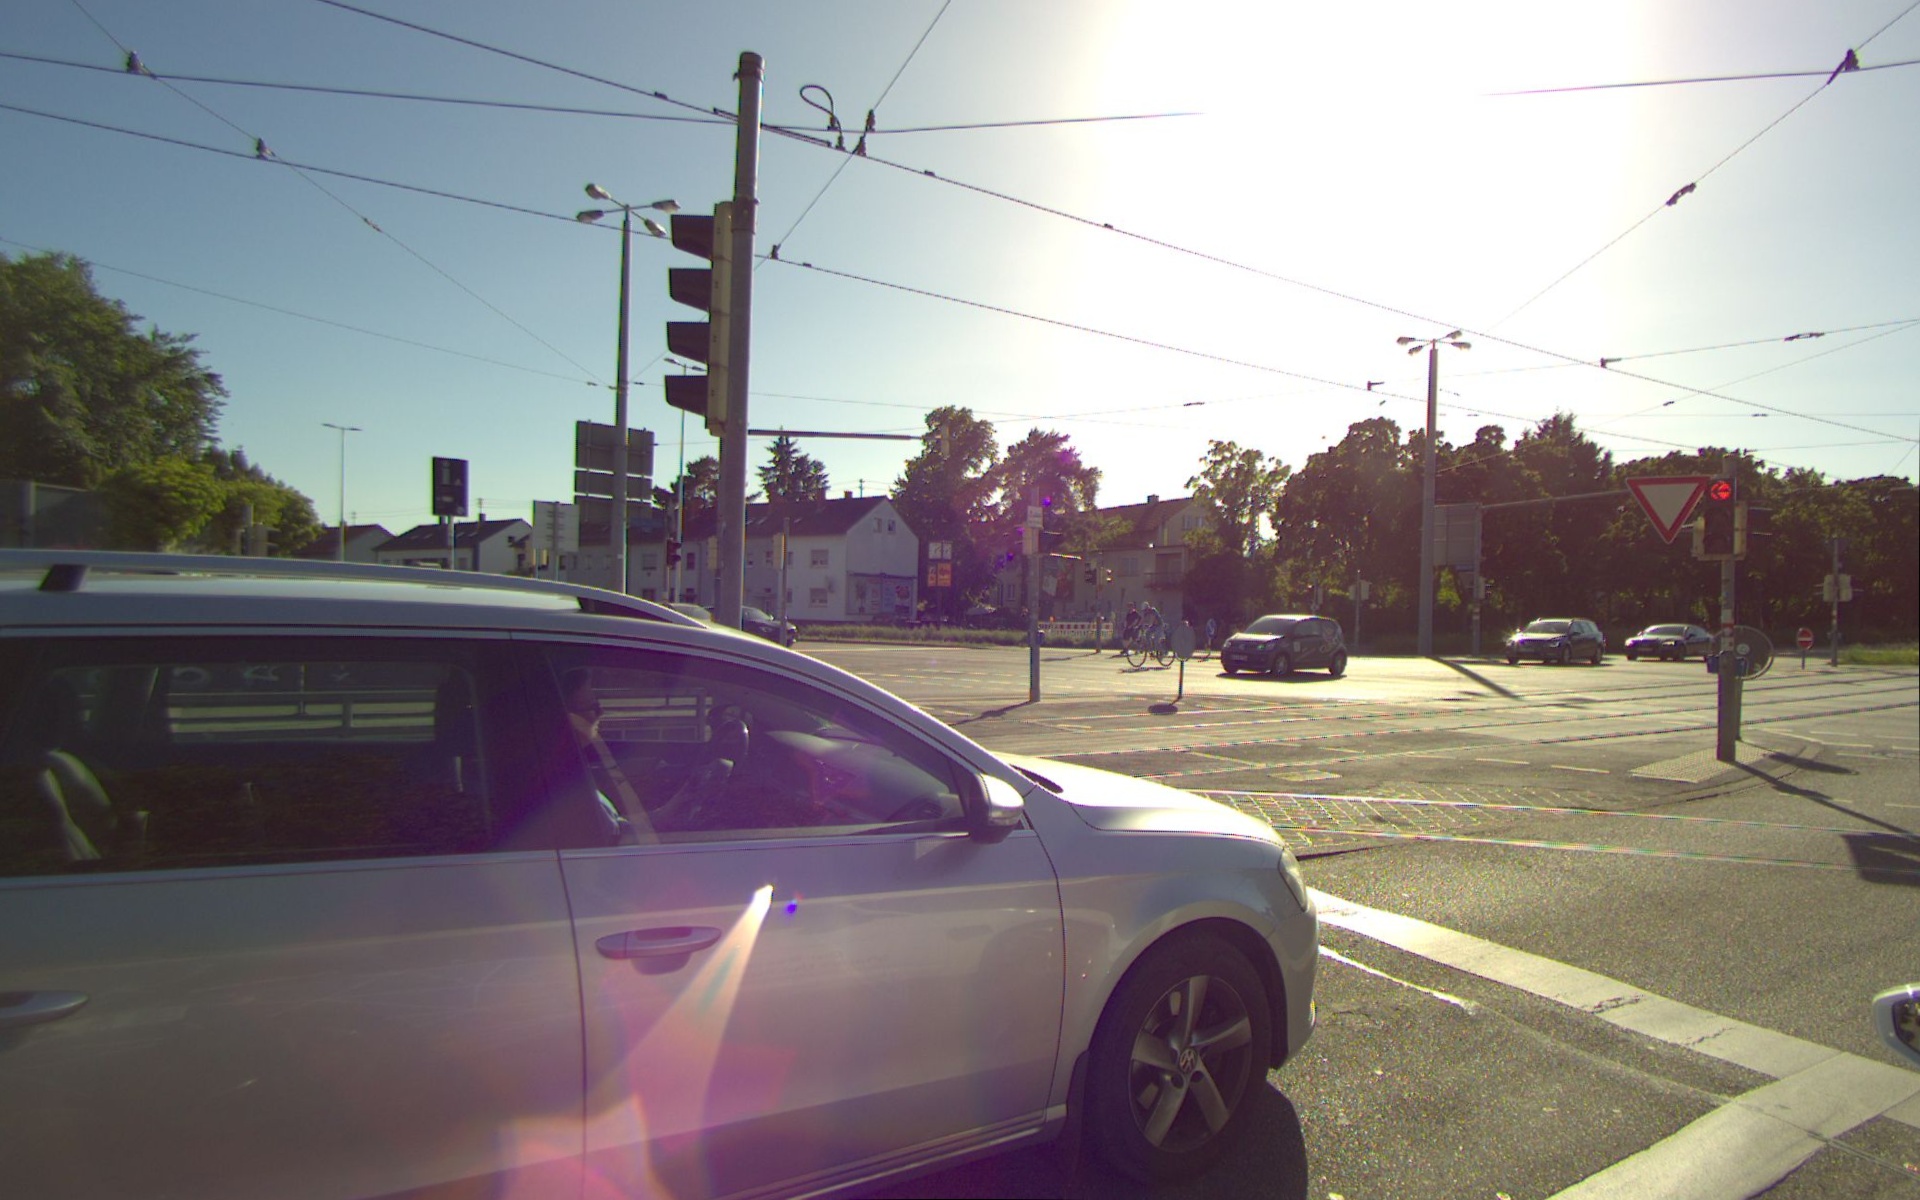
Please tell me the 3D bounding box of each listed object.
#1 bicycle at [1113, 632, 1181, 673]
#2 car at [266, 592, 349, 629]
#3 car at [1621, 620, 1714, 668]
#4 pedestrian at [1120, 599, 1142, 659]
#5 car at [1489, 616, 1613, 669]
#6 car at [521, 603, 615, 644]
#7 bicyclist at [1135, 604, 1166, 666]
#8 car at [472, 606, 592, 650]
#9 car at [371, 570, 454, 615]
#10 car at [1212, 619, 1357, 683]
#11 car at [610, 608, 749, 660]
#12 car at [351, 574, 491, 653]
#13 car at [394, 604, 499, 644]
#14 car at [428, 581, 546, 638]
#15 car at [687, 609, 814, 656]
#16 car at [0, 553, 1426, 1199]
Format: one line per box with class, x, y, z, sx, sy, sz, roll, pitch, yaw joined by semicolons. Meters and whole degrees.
bicycle;5.006;1.390;26.857;1.926;1.056;0.504;2;-1;-31
car;-31.799;0.507;48.906;3.933;1.725;1.994;1;-1;34
car;27.055;1.656;38.371;3.964;1.710;1.778;2;-1;-37
pedestrian;5.707;0.957;33.445;0.599;1.974;0.776;1;0;16
car;19.593;1.373;33.260;4.646;1.617;1.801;2;-1;-35
car;-16.192;0.958;41.444;3.933;1.595;1.658;0;-1;35
bicyclist;5.103;0.935;26.920;0.641;1.629;0.487;1;-1;-31
car;-15.600;0.988;36.567;4.290;1.485;1.933;0;-1;33
car;-26.553;-0.355;48.714;3.931;2.040;1.804;0;-1;32
car;8.161;1.256;25.182;3.669;1.477;1.671;2;-1;-37
car;-9.030;1.058;32.196;4.556;1.496;1.668;0;-1;33
car;-18.743;0.458;34.732;6.777;2.490;2.334;0;-1;44
car;-20.802;0.965;40.658;4.185;1.485;1.933;0;-1;33
car;-21.509;0.421;45.584;5.823;2.443;2.174;0;-1;35
car;-7.336;1.095;35.099;4.175;1.486;1.933;1;-1;33
car;-0.956;0.745;2.630;4.371;1.548;1.867;2;-1;-32
